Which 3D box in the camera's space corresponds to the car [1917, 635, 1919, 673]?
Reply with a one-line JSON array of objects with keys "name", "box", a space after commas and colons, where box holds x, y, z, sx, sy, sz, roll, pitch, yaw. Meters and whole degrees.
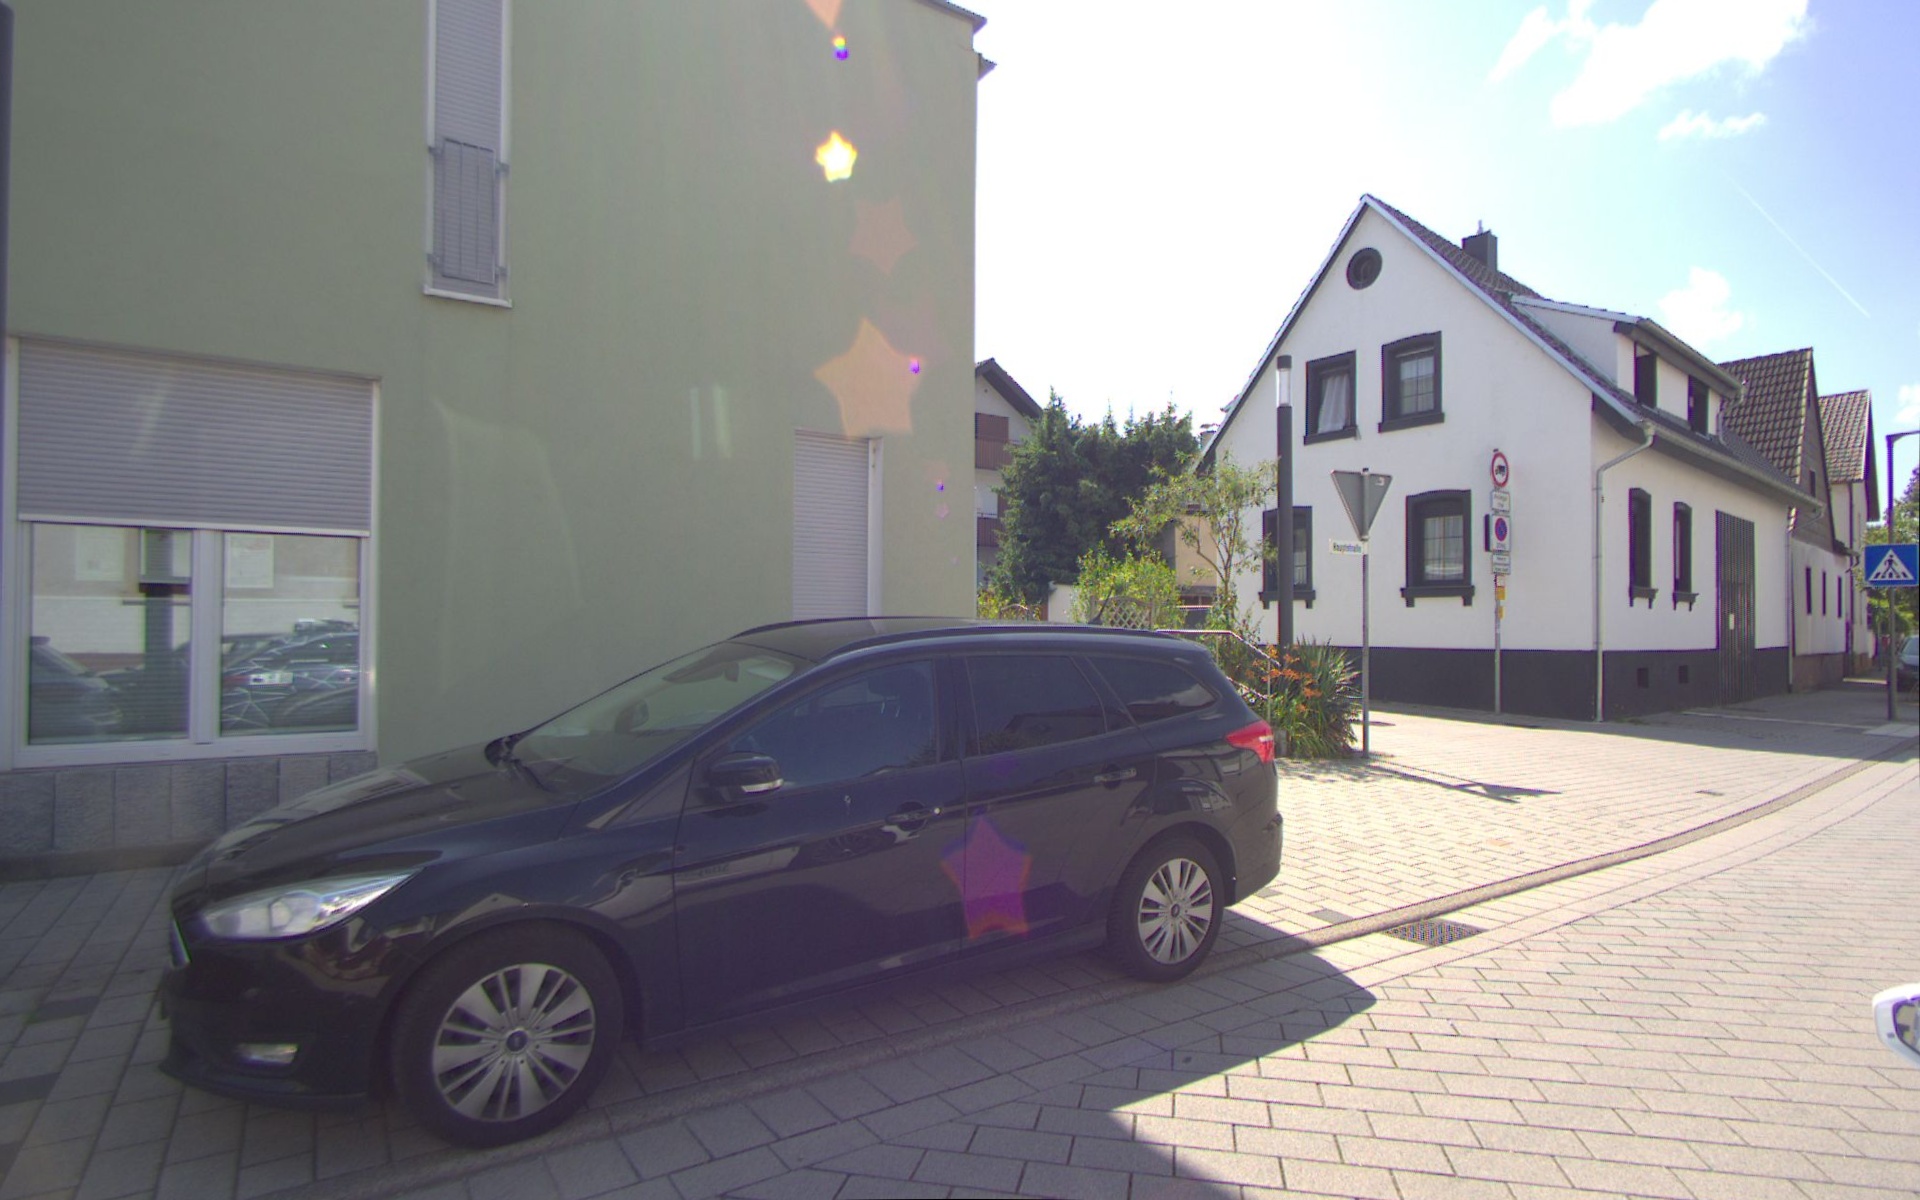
[{"name": "car", "box": [39.307, 2.131, 39.893, 1.775, 1.495, 3.846, -1, -2, 45]}]

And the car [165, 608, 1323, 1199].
[{"name": "car", "box": [-0.575, 0.831, 4.298, 4.231, 1.510, 1.803, 1, 0, -33]}]

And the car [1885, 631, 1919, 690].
[{"name": "car", "box": [27.282, 1.677, 28.080, 3.970, 1.550, 1.731, 1, -1, -42]}]

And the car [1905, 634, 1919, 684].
[{"name": "car", "box": [31.916, 1.909, 32.506, 4.230, 1.552, 1.734, 2, -1, -44]}]

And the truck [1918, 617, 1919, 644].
[{"name": "truck", "box": [148.265, 4.673, 152.734, 3.526, 4.006, 8.533, -1, -2, 42]}]
